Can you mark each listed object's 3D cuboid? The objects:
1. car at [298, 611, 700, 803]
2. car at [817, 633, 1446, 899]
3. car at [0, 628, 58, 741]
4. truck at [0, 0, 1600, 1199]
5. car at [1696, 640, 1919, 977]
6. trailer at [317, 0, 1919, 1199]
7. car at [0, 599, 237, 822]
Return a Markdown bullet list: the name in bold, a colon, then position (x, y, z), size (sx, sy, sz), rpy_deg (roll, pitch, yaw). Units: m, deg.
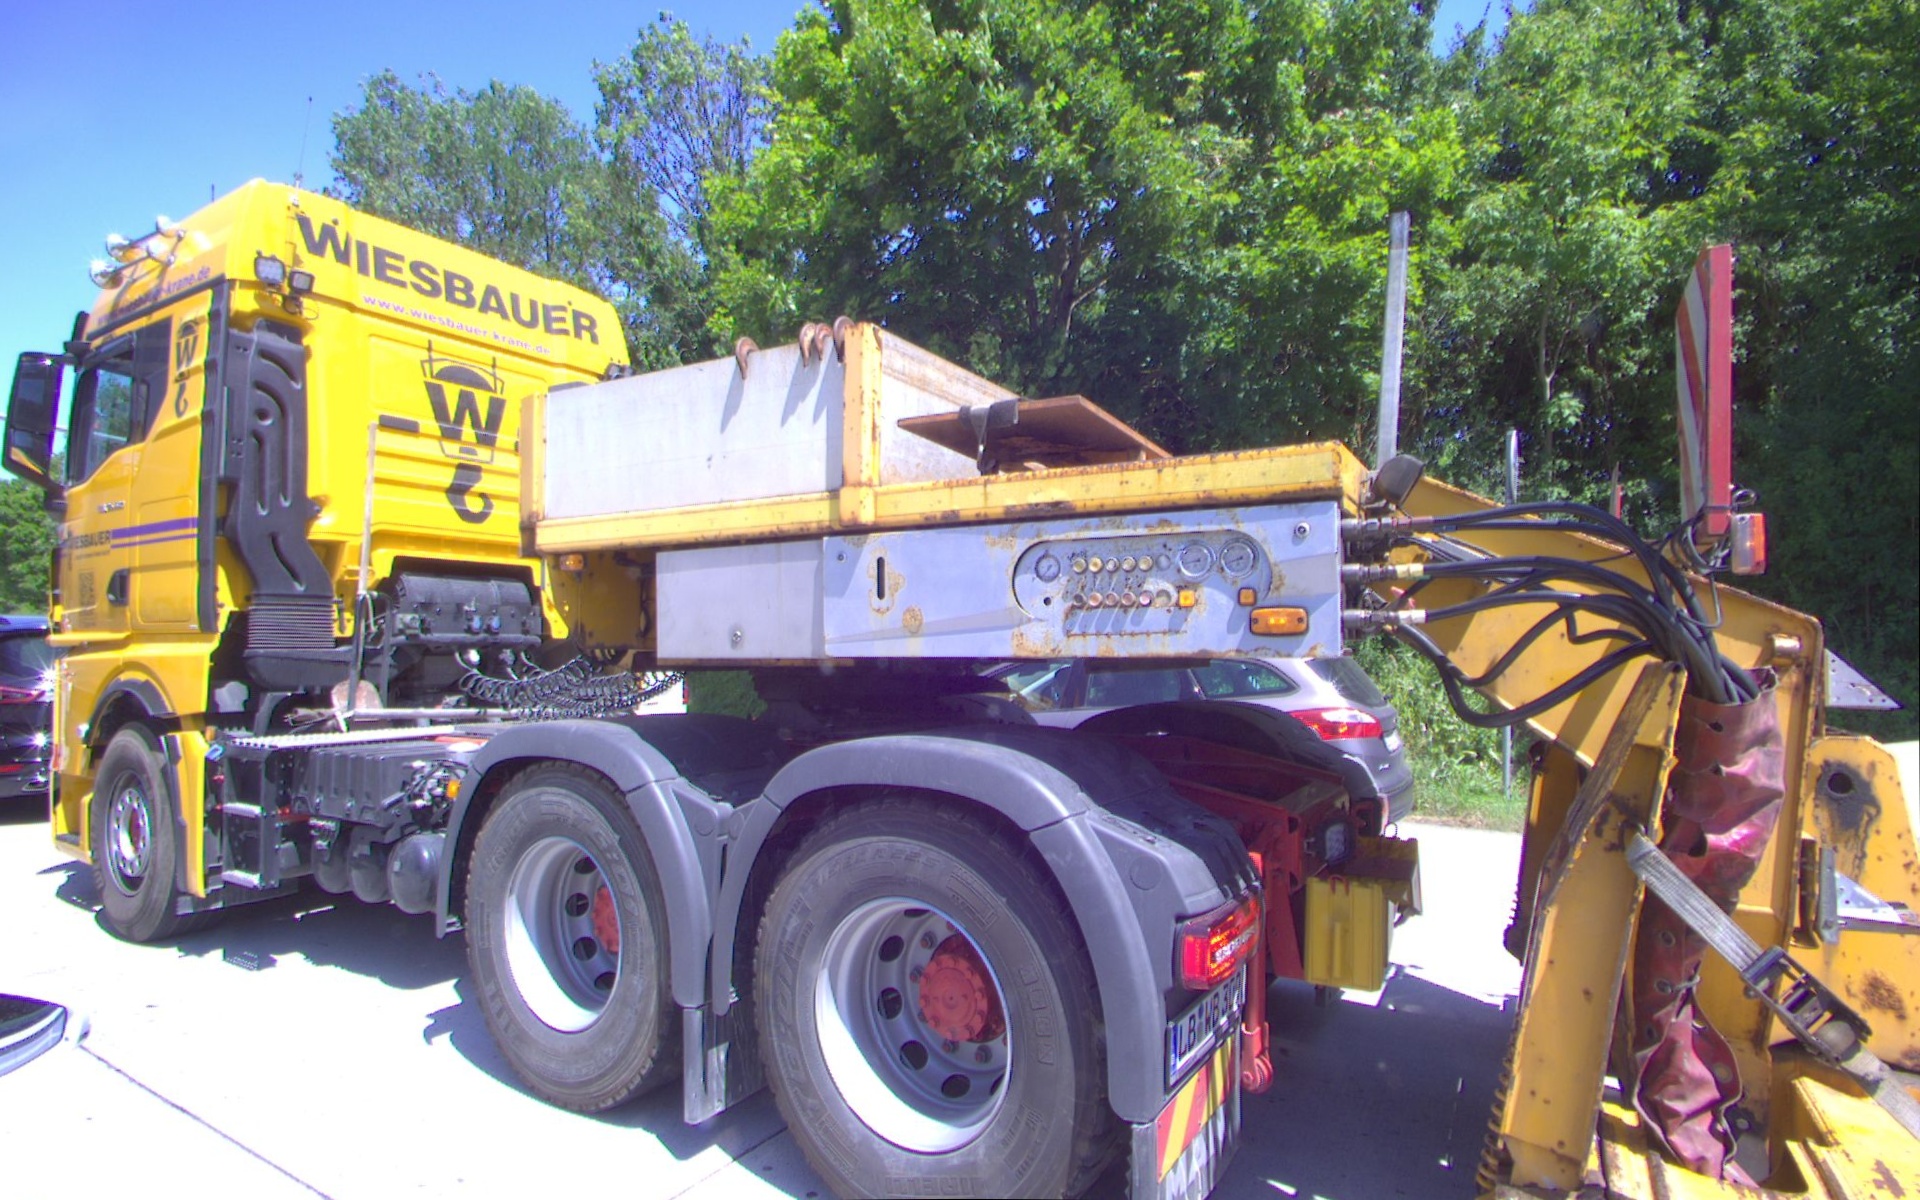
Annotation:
- **car**: position (-5.382, 1.099, 11.530), size (4.720, 1.830, 1.766), rpy_deg (-1, -2, 29)
- **car**: position (1.170, 0.998, 7.471), size (4.300, 1.480, 1.765), rpy_deg (-1, -2, 31)
- **car**: position (-14.200, 1.118, 13.737), size (4.548, 1.428, 1.763), rpy_deg (-2, -2, 35)
- **truck**: position (-1.398, -0.331, 4.774), size (7.361, 3.821, 3.010), rpy_deg (-1, -2, 31)
- **car**: position (6.131, 0.923, 4.349), size (4.530, 1.481, 1.766), rpy_deg (-1, -2, 30)
- **trailer**: position (5.418, 0.196, 0.622), size (16.117, 2.626, 3.023), rpy_deg (-1, -2, 31)
- **car**: position (-8.665, 0.891, 9.261), size (4.584, 1.660, 1.779), rpy_deg (-1, -2, 35)
